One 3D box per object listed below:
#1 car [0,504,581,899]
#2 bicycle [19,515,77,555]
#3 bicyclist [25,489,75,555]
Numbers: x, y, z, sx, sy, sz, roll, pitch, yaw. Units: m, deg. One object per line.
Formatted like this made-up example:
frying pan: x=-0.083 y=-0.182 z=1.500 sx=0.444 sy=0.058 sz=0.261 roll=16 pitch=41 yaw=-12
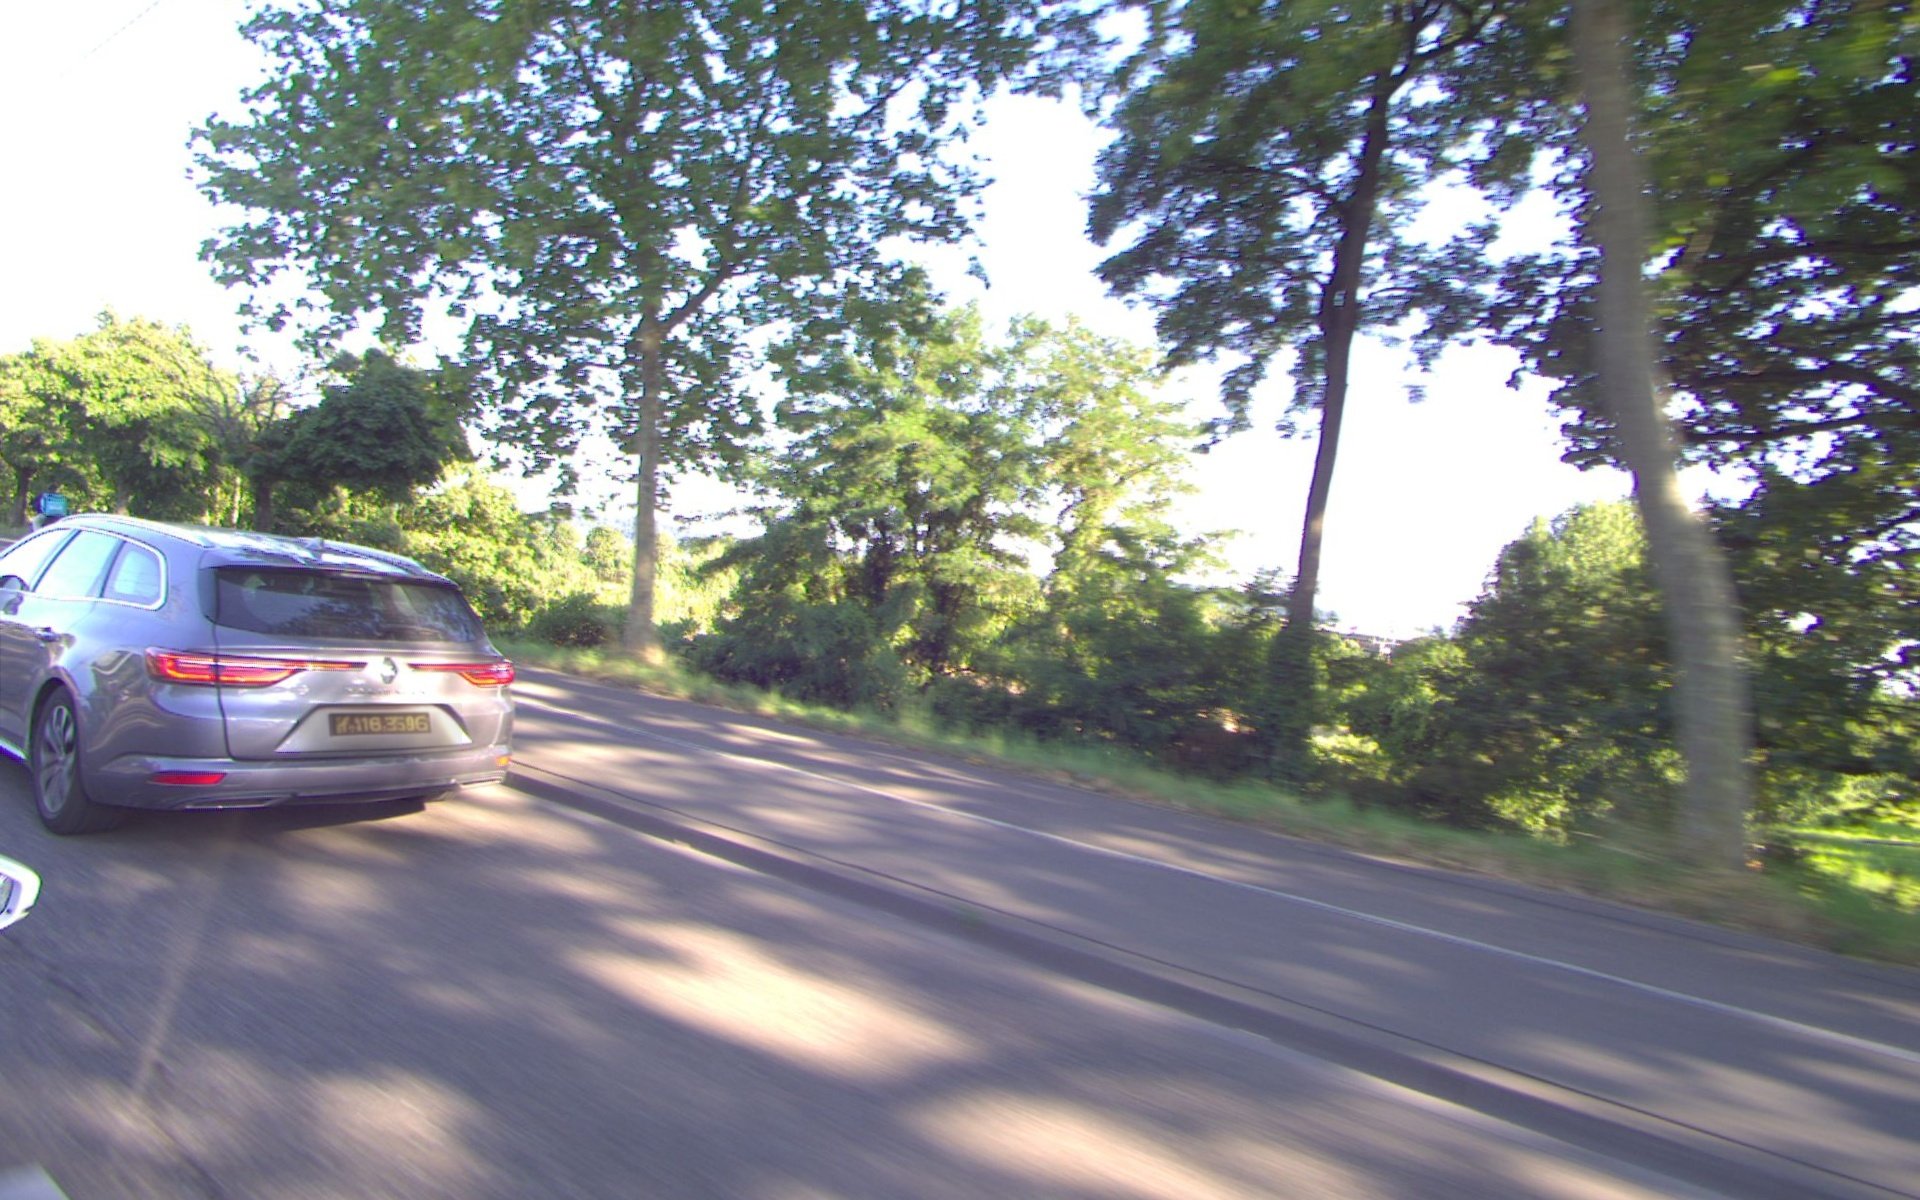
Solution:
car: x=-4.539 y=0.304 z=5.943 sx=4.585 sy=1.460 sz=1.878 roll=6 pitch=-1 yaw=34
bicycle: x=-22.281 y=-1.592 z=24.561 sx=1.608 sy=0.845 sz=0.626 roll=6 pitch=4 yaw=32
bicyclist: x=-22.082 y=-1.895 z=24.412 sx=1.043 sy=1.492 sz=0.626 roll=6 pitch=4 yaw=32
